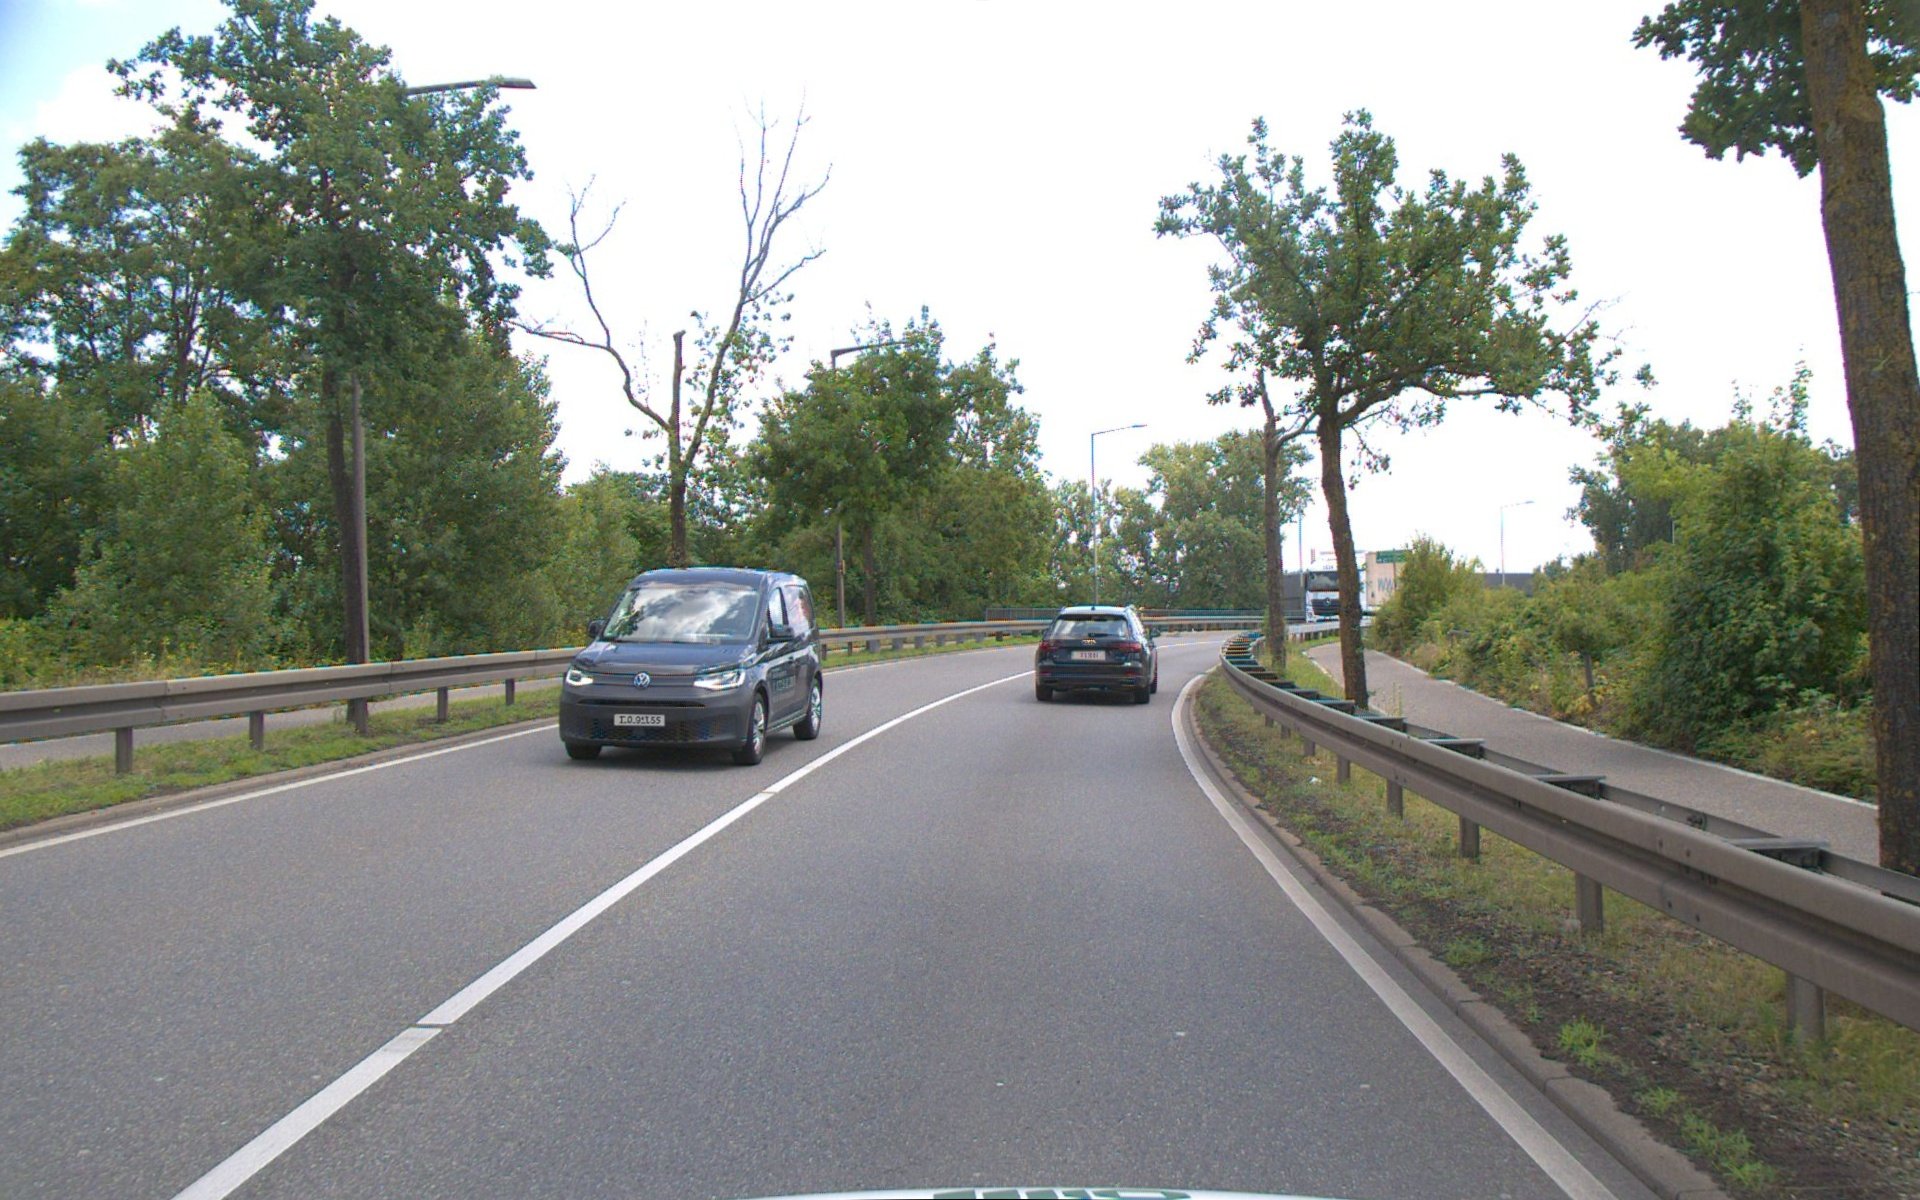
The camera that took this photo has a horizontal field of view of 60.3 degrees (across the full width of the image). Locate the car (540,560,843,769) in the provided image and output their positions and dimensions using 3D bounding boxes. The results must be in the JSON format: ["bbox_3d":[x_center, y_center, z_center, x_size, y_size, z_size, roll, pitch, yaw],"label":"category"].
[{"bbox_3d":[-2.466,0.544,16.355,1.813,1.739,4.315,1,0,7],"label":"car"}]

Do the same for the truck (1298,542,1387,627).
[{"bbox_3d":[19.756,-0.795,85.224,2.712,4.207,5.637,0,0,33],"label":"truck"}]

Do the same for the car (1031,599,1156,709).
[{"bbox_3d":[2.060,0.793,26.484,1.790,1.517,4.208,2,1,3],"label":"car"}]

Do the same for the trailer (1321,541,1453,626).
[{"bbox_3d":[23.870,-0.843,91.585,2.658,4.355,14.189,0,0,33],"label":"trailer"}]
